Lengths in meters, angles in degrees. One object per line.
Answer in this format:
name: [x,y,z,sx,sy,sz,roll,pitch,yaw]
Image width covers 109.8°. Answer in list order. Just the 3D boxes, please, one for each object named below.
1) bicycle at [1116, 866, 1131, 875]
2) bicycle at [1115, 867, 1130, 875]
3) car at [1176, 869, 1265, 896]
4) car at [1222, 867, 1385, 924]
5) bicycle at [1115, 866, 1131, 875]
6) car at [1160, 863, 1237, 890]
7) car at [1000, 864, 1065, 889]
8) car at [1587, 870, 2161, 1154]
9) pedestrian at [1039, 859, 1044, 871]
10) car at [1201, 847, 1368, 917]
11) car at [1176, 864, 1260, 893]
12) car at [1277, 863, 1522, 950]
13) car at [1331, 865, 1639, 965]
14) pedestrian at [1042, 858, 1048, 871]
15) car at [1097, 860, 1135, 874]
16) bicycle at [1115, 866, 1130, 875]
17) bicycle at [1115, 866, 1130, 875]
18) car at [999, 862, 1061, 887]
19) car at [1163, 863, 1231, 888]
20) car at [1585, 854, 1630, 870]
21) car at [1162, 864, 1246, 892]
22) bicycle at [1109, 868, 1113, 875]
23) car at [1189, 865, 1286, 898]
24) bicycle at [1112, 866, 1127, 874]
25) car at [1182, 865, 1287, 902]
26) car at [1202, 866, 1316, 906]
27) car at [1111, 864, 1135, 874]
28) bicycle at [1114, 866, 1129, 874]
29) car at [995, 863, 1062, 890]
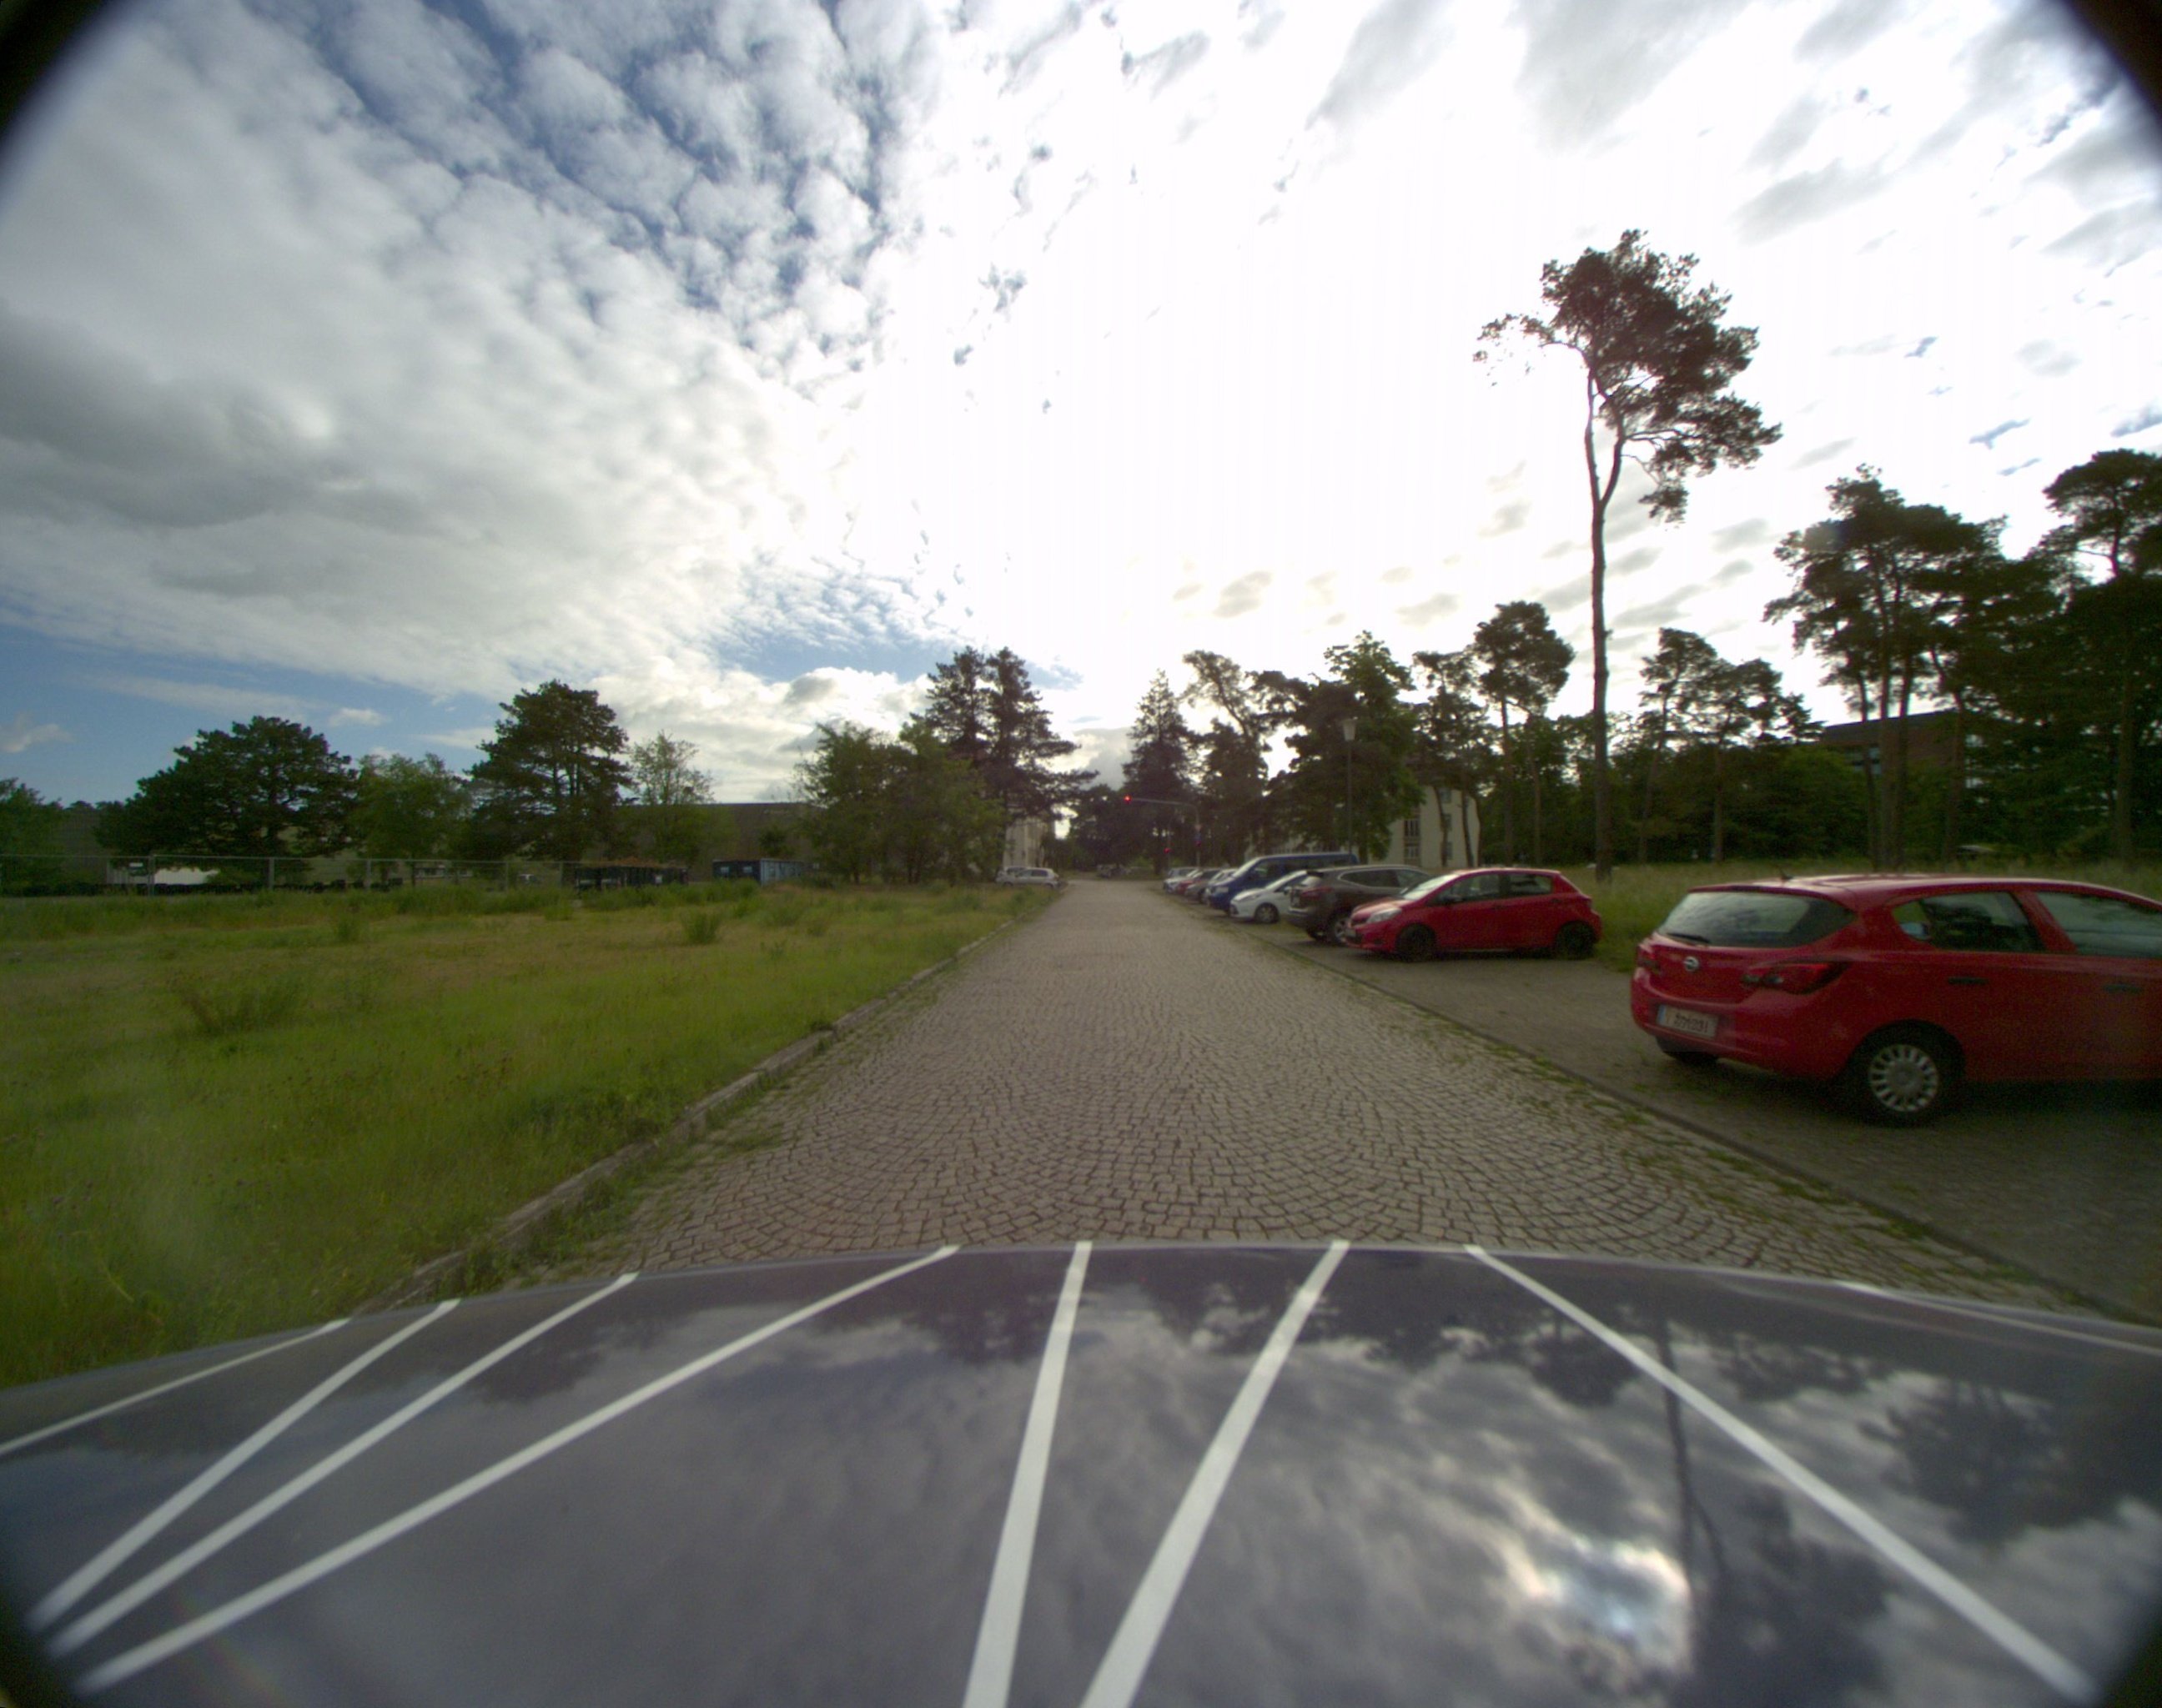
bicycle: [5.541,2.143,98.824,1.950,1.058,0.563,-1,0,0]
bicycle: [5.275,2.148,97.099,1.898,1.058,0.616,-1,0,0]
car: [6.940,1.395,38.165,4.175,1.259,1.832,-1,-1,3]
car: [6.311,1.152,21.867,4.177,1.501,1.781,-1,0,-1]
bicycle: [5.440,2.145,98.179,1.950,1.058,0.563,-1,0,0]
car: [6.987,1.334,45.581,4.261,1.539,1.935,-1,0,-2]
car: [-3.167,1.474,50.275,4.084,1.444,1.885,2,-1,-1]
car: [6.131,0.902,5.199,4.065,1.516,1.905,-1,0,0]
pedestrian: [-5.864,1.655,112.837,0.568,1.691,0.532,-1,0,5]
car: [6.431,0.878,24.455,4.794,2.109,2.115,-1,0,1]
car: [7.246,1.303,40.530,4.176,1.467,1.865,-1,0,1]
car: [6.365,1.014,15.570,4.177,1.612,1.987,-1,0,-1]
car: [6.626,0.967,12.820,4.176,1.501,1.907,-1,0,0]
pedestrian: [-5.324,1.488,111.309,0.589,1.926,0.792,-1,0,-32]
car: [5.284,1.989,115.541,5.366,1.987,2.290,-1,0,-7]
bicycle: [5.344,2.123,97.653,1.950,1.104,0.563,-1,0,0]
bicycle: [5.468,2.142,99.312,1.950,1.058,0.563,-1,0,0]
car: [-3.523,1.431,53.003,4.251,1.587,1.885,2,0,-2]
car: [7.325,1.358,48.271,3.997,1.534,1.905,-1,0,0]
car: [61.551,0.928,88.867,3.995,1.796,1.723,-1,0,4]
car: [6.895,1.318,42.838,4.385,1.498,1.936,-1,0,0]
bicycle: [3.694,2.137,93.717,0.459,0.903,1.663,-1,-1,5]
car: [7.231,1.257,35.499,4.176,1.473,1.846,-1,0,2]
bicycle: [5.242,2.137,103.700,1.950,1.058,0.563,-1,0,0]
car: [6.515,1.245,32.590,4.175,1.483,1.865,-1,0,3]
car: [6.888,1.229,29.737,4.077,1.488,1.846,-1,0,2]
car: [6.163,2.186,111.879,3.439,1.440,1.913,-1,-1,0]
bicycle: [5.366,2.138,99.896,1.950,1.058,0.563,-1,0,0]
car: [-3.250,1.412,47.566,4.084,1.506,1.804,2,0,-1]
